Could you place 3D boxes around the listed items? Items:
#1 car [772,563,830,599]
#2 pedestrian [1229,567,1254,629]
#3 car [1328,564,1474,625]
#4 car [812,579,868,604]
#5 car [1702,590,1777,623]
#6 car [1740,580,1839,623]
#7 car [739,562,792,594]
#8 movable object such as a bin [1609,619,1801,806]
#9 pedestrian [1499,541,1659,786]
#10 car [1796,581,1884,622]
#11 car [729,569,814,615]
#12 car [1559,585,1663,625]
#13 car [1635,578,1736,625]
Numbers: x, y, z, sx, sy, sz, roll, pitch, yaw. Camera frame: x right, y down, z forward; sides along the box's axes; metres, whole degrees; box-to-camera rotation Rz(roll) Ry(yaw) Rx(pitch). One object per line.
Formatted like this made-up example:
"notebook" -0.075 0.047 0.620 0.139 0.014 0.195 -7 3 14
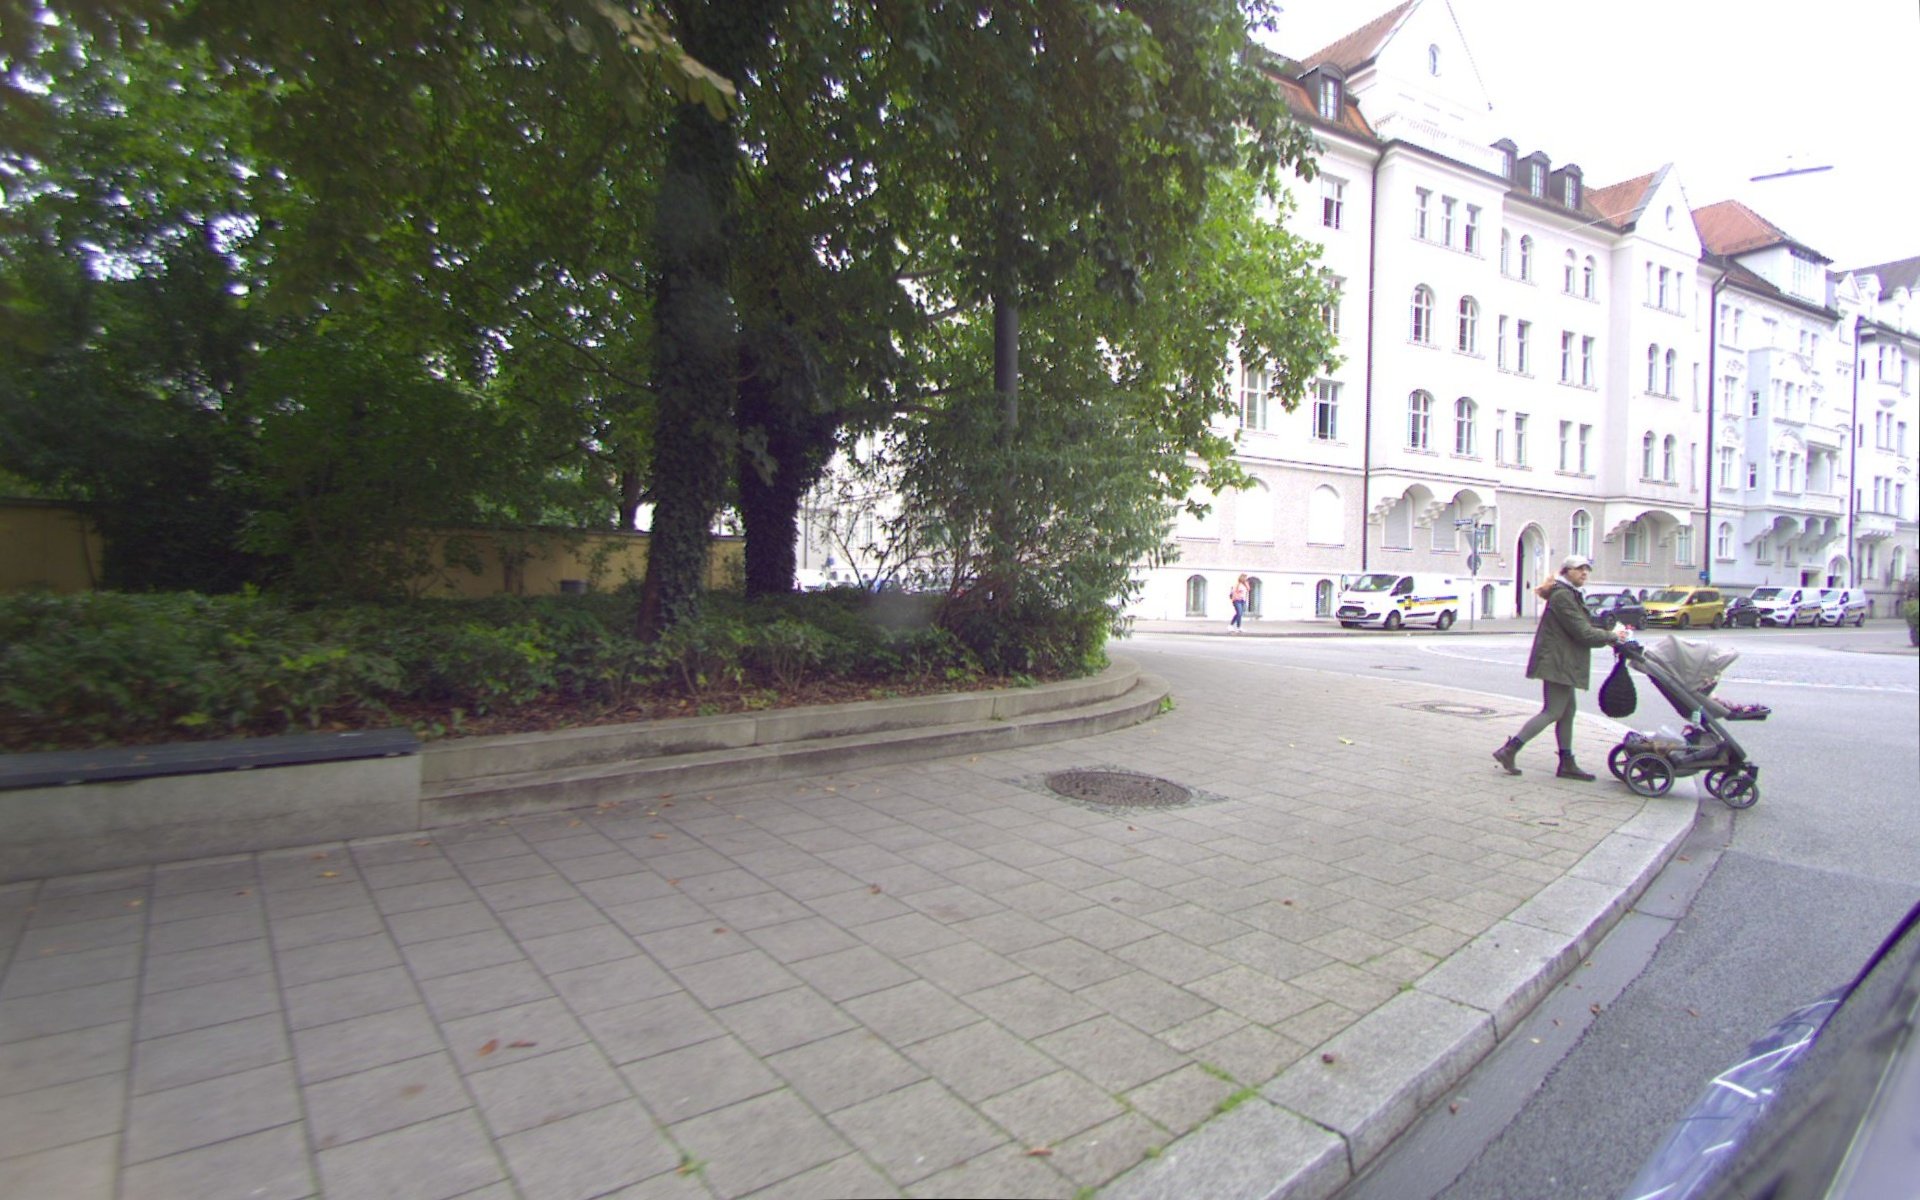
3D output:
"car" -8.623 -1.061 54.703 1.788 1.779 4.115 -1 3 -29
"pedestrian" 8.318 -0.064 29.897 0.558 1.790 0.406 0 1 -21
"car" 15.136 -0.193 34.676 4.873 1.958 1.954 0 2 -29
"car" -5.964 -0.422 49.980 1.667 1.102 3.221 -1 3 -29
"car" 35.274 0.265 45.792 3.291 1.375 1.445 -1 3 -29
"car" 40.073 0.023 48.874 4.678 1.936 2.162 -1 3 -30
"car" -11.605 -1.327 60.201 1.872 1.779 4.058 -1 3 -29
"movable object such as a bin" 5.124 0.730 7.033 0.892 1.097 0.770 4 3 28
"pedestrian" 4.456 0.414 7.350 0.856 1.638 0.588 4 3 29
"car" 45.223 0.034 51.986 4.485 1.962 2.057 -1 3 -30
"car" -6.709 -0.323 35.700 1.703 1.487 4.005 1 2 -30
"car" 26.152 0.159 40.641 3.742 1.437 1.954 -1 3 -29
"car" 30.831 0.037 42.988 4.217 1.841 1.799 -1 3 -29
